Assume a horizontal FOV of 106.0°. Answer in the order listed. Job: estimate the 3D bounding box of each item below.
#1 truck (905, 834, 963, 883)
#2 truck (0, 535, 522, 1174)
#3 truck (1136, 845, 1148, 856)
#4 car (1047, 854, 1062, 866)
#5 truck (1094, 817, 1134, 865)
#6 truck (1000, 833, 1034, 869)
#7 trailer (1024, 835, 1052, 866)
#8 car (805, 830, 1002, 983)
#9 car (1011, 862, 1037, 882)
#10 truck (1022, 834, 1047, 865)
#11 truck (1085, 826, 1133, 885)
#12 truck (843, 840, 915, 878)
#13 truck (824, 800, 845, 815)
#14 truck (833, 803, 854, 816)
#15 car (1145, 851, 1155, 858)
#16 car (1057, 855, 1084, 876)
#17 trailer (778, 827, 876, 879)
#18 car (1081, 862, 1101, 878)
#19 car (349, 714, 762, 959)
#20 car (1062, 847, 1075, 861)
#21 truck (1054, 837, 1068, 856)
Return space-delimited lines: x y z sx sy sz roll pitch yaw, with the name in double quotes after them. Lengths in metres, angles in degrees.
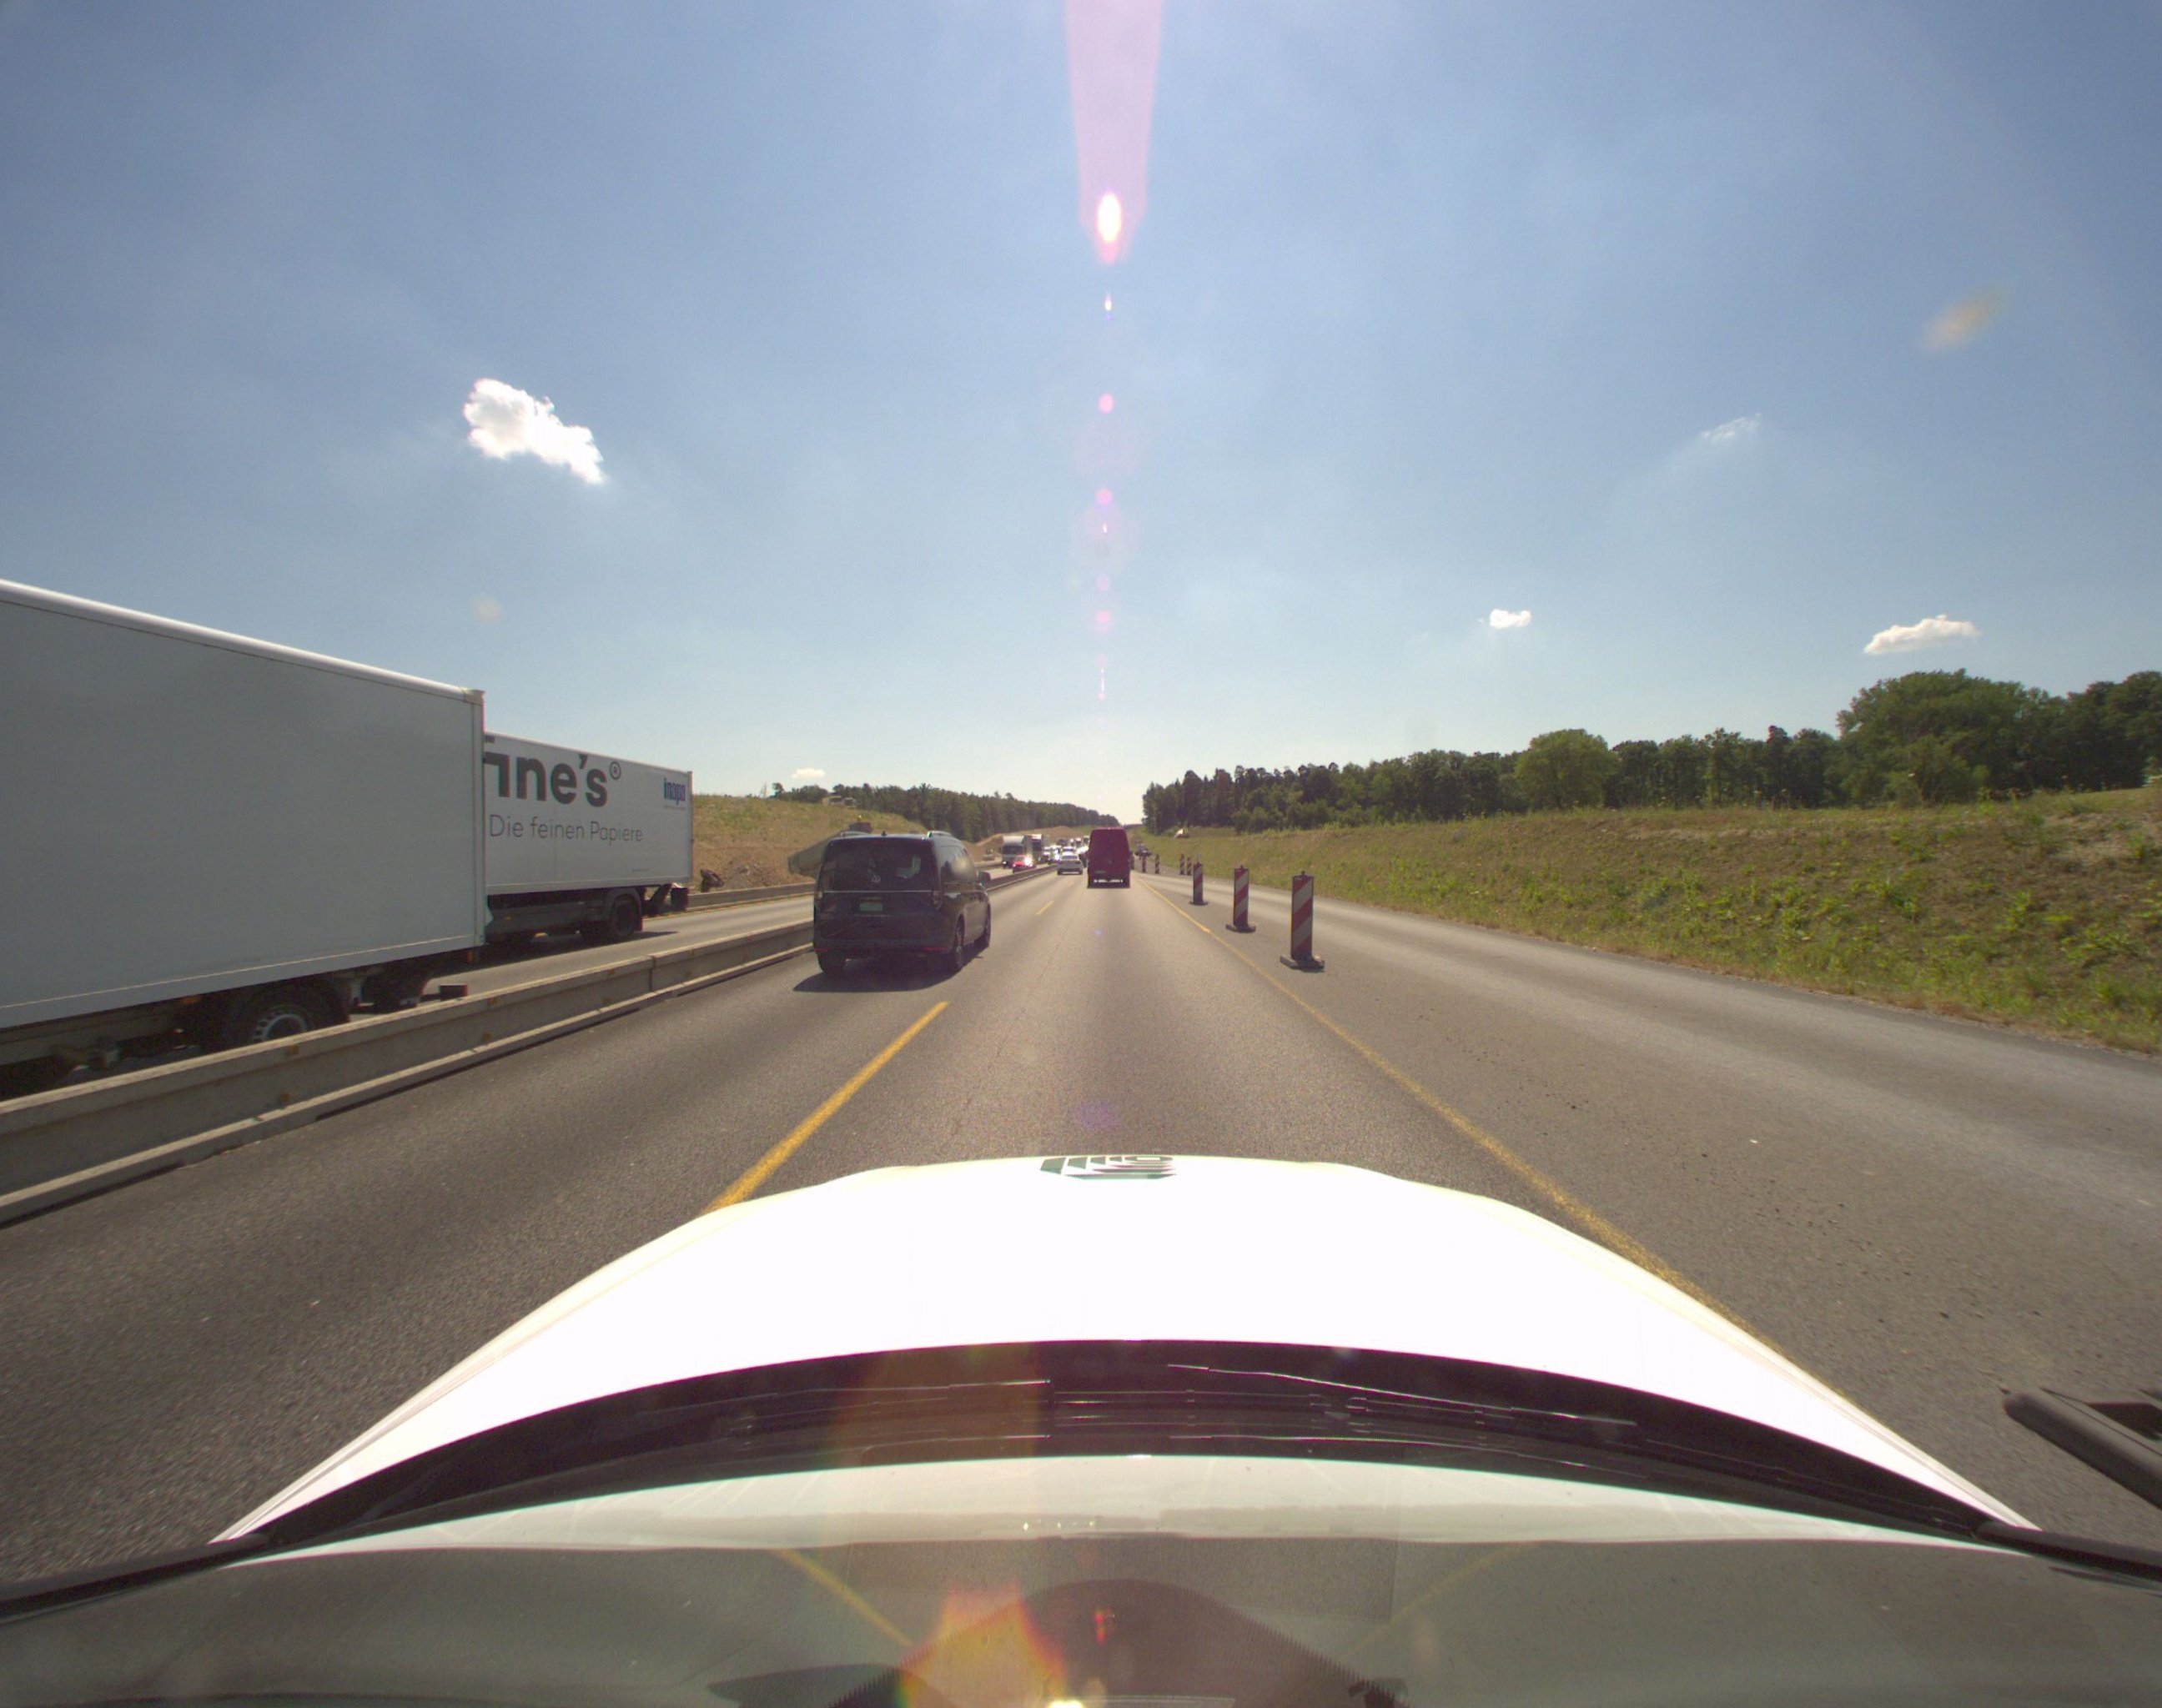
-8.309 0.175 46.590 2.091 2.569 6.356 0 1 1 "truck"
-6.454 0.005 3.980 2.263 3.150 7.315 0 0 1 "truck"
13.744 -0.758 182.655 2.117 2.456 5.940 0 1 9 "truck"
-3.479 0.759 106.196 1.852 1.442 4.500 0 0 0 "car"
3.993 -1.415 100.123 4.383 5.496 16.609 0 0 2 "truck"
-6.876 -0.312 89.093 2.634 3.716 9.486 0 0 2 "truck"
-6.060 -0.399 116.690 2.844 4.093 13.657 -2 0 2 "trailer"
-2.358 0.608 12.169 1.745 1.824 4.785 0 1 2 "car"
-4.537 1.419 65.312 1.621 1.484 4.055 0 0 2 "car"
-6.212 -0.622 109.567 2.838 4.018 4.861 -2 -1 1 "truck"
1.298 0.079 38.768 2.145 2.590 5.334 0 0 1 "truck"
-16.422 0.438 66.334 5.085 2.964 2.558 1 -1 -37 "truck"
-57.216 -10.692 188.589 2.371 2.898 8.279 0 -1 -34 "truck"
-57.248 -10.636 195.885 2.311 2.749 8.813 0 -1 -34 "truck"
13.972 0.081 164.678 1.647 1.426 4.548 -3 1 2 "car"
-0.758 0.812 59.743 1.824 1.522 3.962 0 0 2 "car"
-21.081 -0.059 67.504 8.263 4.098 2.817 0 -1 29 "trailer"
1.083 1.667 85.647 1.959 1.541 4.313 0 1 2 "car"
-9.611 -0.295 16.481 2.897 3.740 8.094 0 0 2 "car"
-2.122 0.015 141.427 1.986 2.292 5.344 0 1 1 "car"
-4.427 -1.700 181.200 2.479 4.198 5.920 -2 0 5 "truck"
